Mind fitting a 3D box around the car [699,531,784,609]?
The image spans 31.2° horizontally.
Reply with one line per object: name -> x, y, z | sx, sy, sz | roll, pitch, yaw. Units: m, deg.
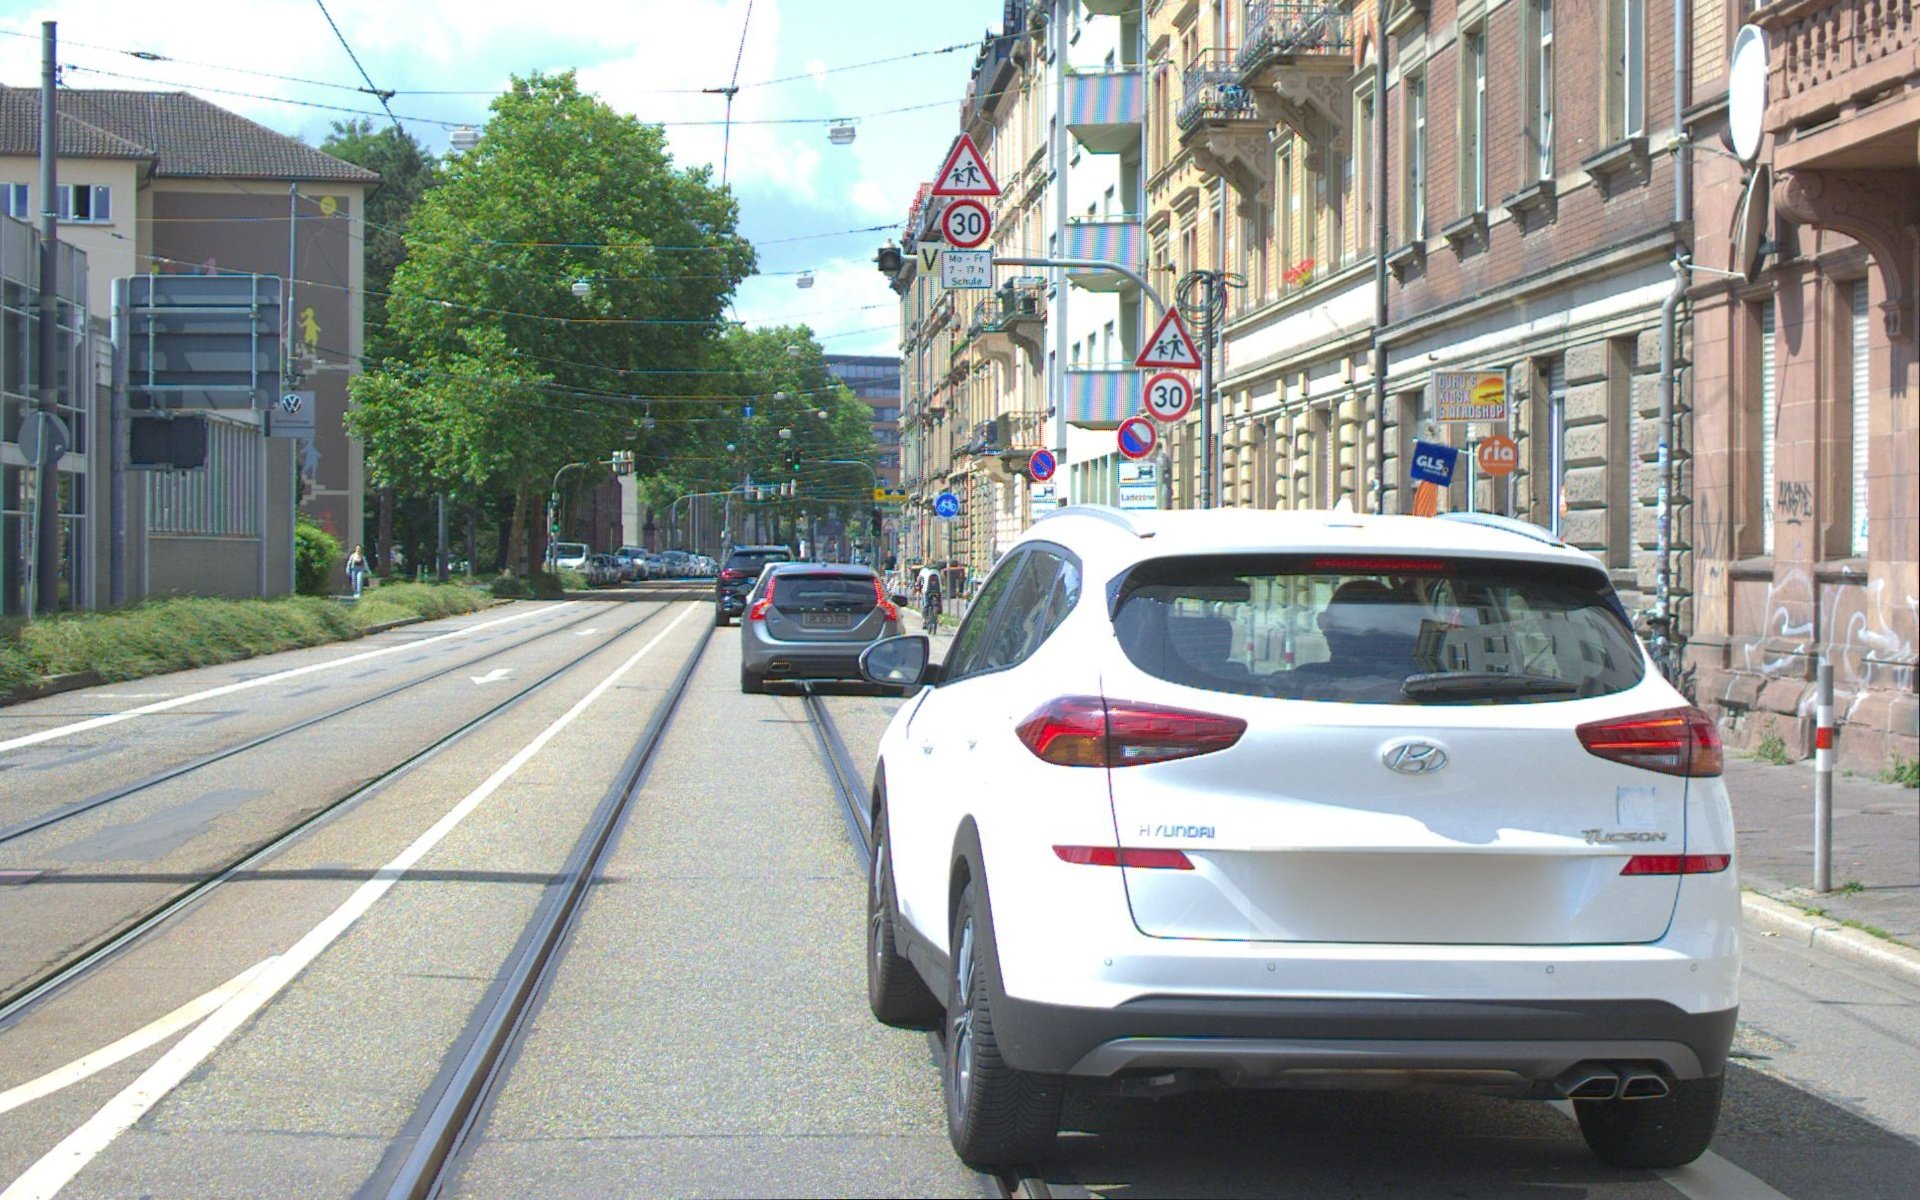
car -> -4.785, -0.673, 75.421 | 1.814, 1.656, 4.086 | 0, 1, -3

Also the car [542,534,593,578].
car -> -17.199, -1.945, 150.848 | 1.950, 1.888, 4.566 | 1, 1, -4

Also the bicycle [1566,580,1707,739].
bicycle -> 5.331, 0.447, 27.194 | 0.586, 1.174, 2.205 | 0, 1, -2

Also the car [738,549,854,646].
car -> -2.686, -0.068, 55.873 | 1.814, 1.519, 3.956 | 0, 1, -3

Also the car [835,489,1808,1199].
car -> 0.732, 0.563, 9.643 | 1.852, 1.628, 4.181 | 2, 1, -6

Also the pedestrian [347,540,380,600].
pedestrian -> -18.661, -0.947, 107.561 | 0.880, 1.859, 1.081 | -1, 1, -3

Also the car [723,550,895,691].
car -> -1.669, 0.191, 39.175 | 1.814, 1.519, 4.085 | 0, 1, 0
